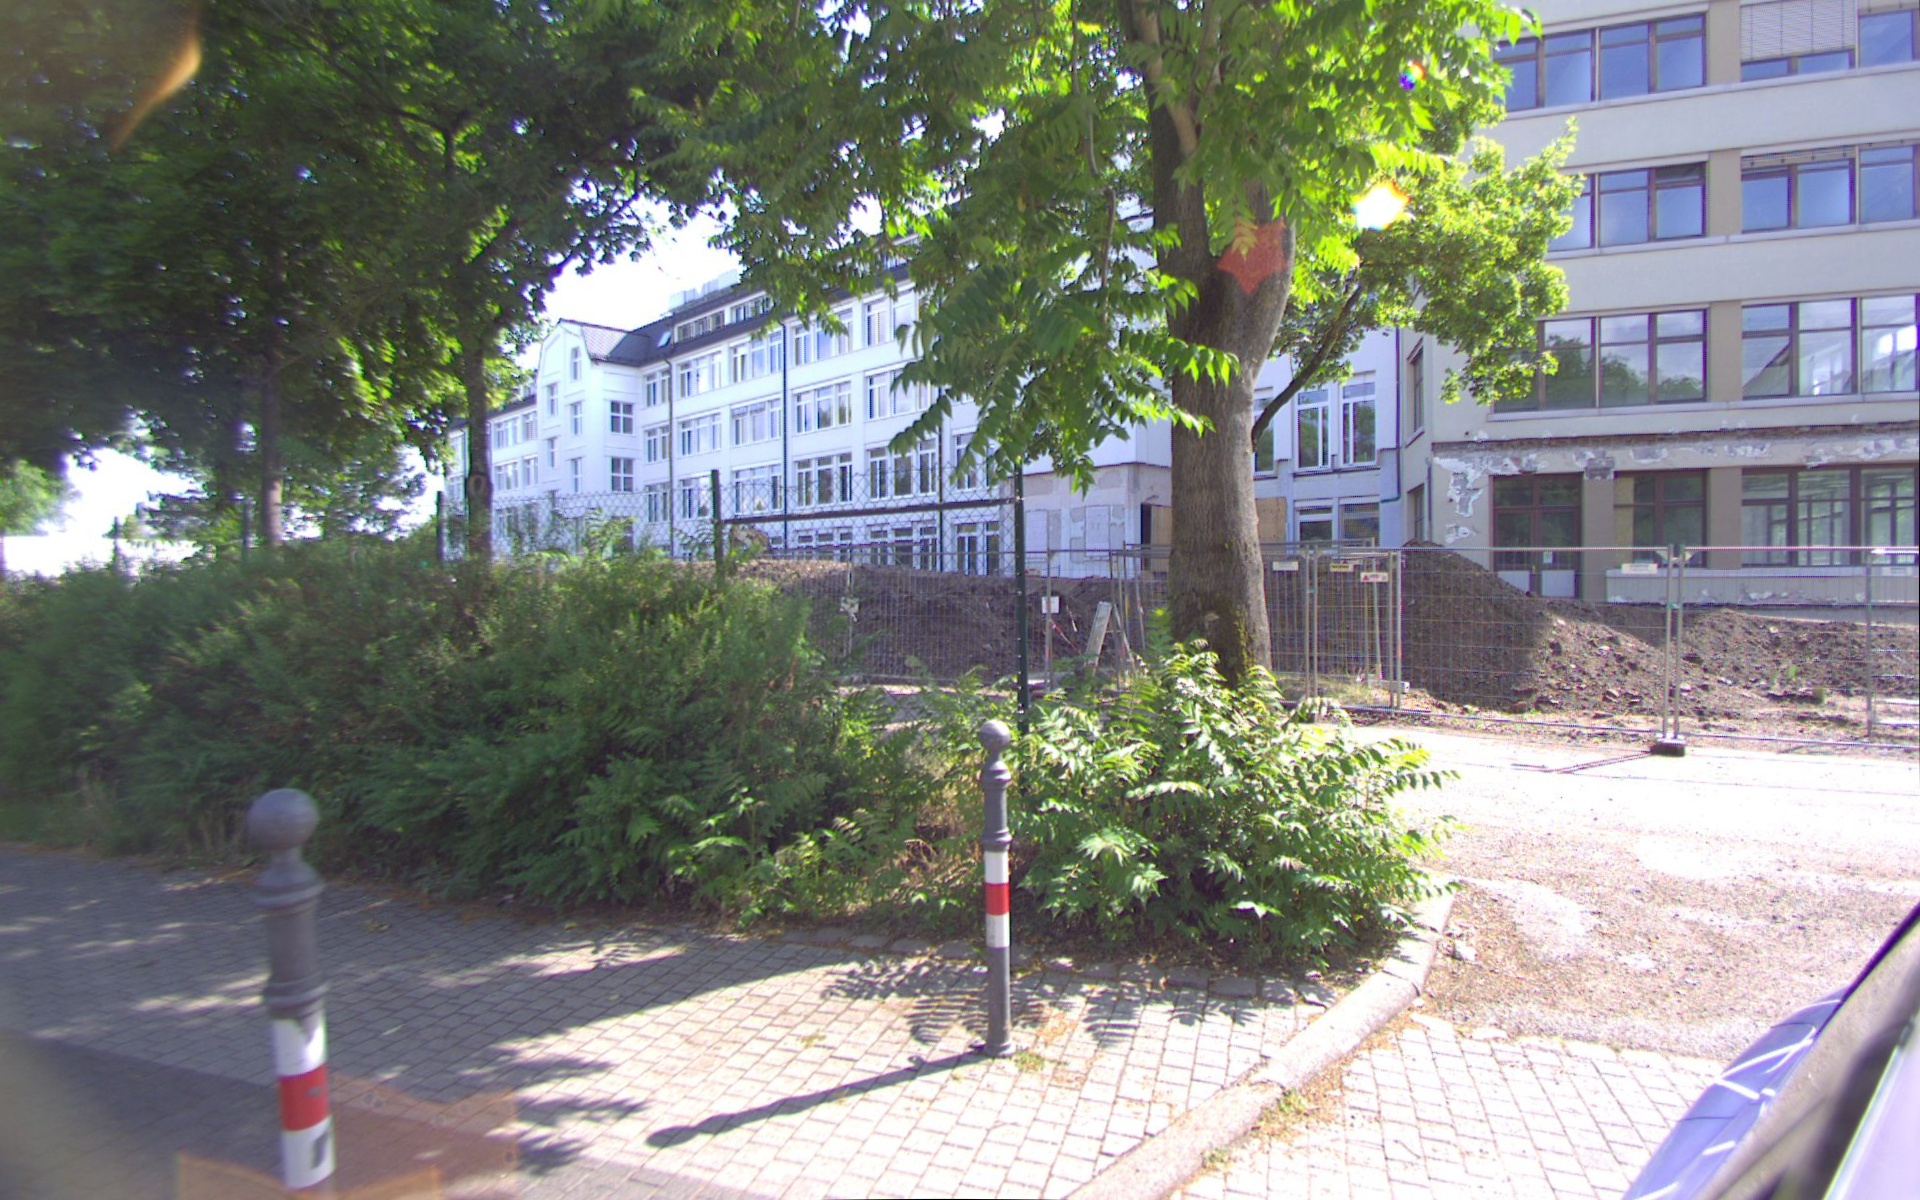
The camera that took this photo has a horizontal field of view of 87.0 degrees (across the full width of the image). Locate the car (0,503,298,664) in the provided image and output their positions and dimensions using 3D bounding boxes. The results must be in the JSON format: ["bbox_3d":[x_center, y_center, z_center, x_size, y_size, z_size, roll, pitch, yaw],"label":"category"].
[{"bbox_3d":[-18.374,-0.273,21.637,1.982,3.087,6.904,0,-1,28],"label":"car"}]

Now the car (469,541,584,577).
[{"bbox_3d":[-20.840,-1.941,48.789,4.789,1.446,1.839,1,-2,-45],"label":"car"}]
